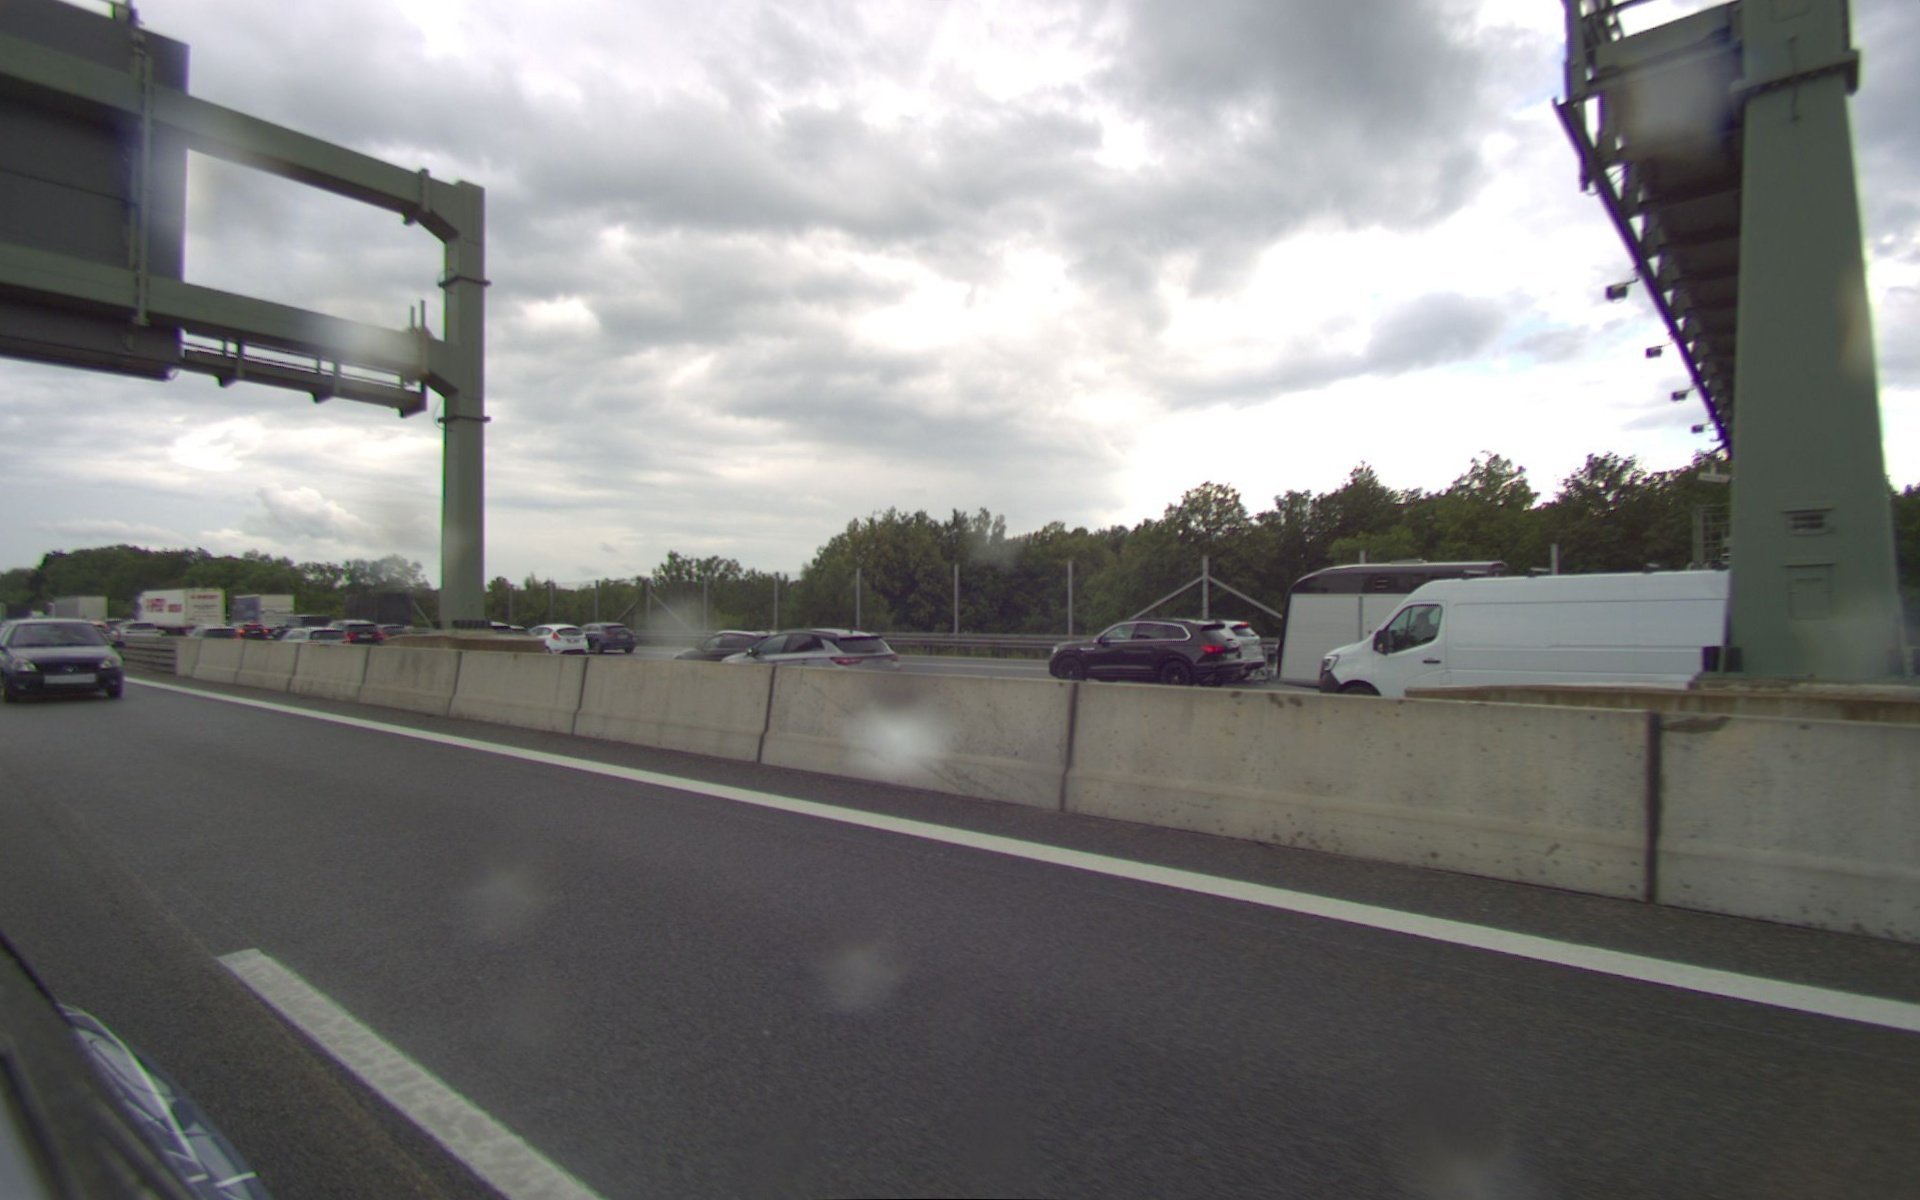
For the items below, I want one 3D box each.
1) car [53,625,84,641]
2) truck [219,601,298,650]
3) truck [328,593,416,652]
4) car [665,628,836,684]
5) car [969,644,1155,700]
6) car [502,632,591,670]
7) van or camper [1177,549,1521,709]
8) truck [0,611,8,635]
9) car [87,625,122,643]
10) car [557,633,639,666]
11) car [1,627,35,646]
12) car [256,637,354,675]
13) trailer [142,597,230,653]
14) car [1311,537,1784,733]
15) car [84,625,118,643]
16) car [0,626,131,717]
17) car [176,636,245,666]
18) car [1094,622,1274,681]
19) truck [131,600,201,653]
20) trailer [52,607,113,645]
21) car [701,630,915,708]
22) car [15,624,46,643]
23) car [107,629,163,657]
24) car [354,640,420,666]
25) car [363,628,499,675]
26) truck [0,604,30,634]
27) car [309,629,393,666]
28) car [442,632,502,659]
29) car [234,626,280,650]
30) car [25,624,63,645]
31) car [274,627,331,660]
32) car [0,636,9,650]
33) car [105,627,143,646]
[{"bbox_3d":[-85.933,3.152,97.529,4.858,1.522,1.628,-1,-1,41],"label":"car"},{"bbox_3d":[-58.109,2.147,83.718,10.751,3.869,2.868,-2,-2,41],"label":"truck"},{"bbox_3d":[-37.606,1.496,64.617,7.801,3.564,2.438,-2,-2,40],"label":"truck"},{"bbox_3d":[-5.749,1.476,27.392,5.125,1.368,1.780,-2,-2,40],"label":"car"},{"bbox_3d":[2.508,1.773,25.599,4.498,1.271,1.686,-2,-2,39],"label":"car"},{"bbox_3d":[-17.205,2.101,42.052,4.413,1.458,1.604,-2,-2,40],"label":"car"},{"bbox_3d":[7.954,0.628,21.145,6.206,2.869,2.558,-2,-2,39],"label":"van or camper"},{"bbox_3d":[-165.471,4.002,173.080,11.686,4.012,2.692,-2,-2,41],"label":"truck"},{"bbox_3d":[-85.127,3.392,100.683,4.572,1.761,1.947,-2,-2,41],"label":"car"},{"bbox_3d":[-17.030,2.313,47.499,4.338,1.437,1.744,-2,-2,40],"label":"car"},{"bbox_3d":[-83.898,3.201,90.105,4.281,1.631,1.773,-1,-1,41],"label":"car"},{"bbox_3d":[-25.612,2.159,39.489,4.941,1.350,1.870,-2,-2,40],"label":"car"},{"bbox_3d":[-62.239,2.068,81.239,11.947,4.226,3.154,-2,-2,40],"label":"trailer"},{"bbox_3d":[8.900,0.543,15.799,6.061,2.507,2.180,-2,-2,40],"label":"car"},{"bbox_3d":[-75.953,2.978,89.461,4.674,1.514,1.628,-1,-1,41],"label":"car"},{"bbox_3d":[-16.682,1.214,18.386,5.014,1.418,1.758,-2,-1,42],"label":"car"},{"bbox_3d":[-35.301,2.388,47.632,4.184,1.299,1.686,-2,-2,40],"label":"car"},{"bbox_3d":[5.995,1.368,27.388,4.498,1.460,1.686,-2,-2,39],"label":"car"},{"bbox_3d":[-66.945,2.252,85.228,7.731,4.226,3.145,-2,-2,40],"label":"truck"},{"bbox_3d":[-95.920,2.828,110.525,13.007,3.963,3.210,-2,-1,41],"label":"trailer"},{"bbox_3d":[-3.145,1.326,20.408,4.500,1.402,1.686,-2,-2,39],"label":"car"},{"bbox_3d":[-101.093,3.627,110.063,5.671,2.068,1.802,-2,-2,41],"label":"car"},{"bbox_3d":[-50.695,2.629,62.167,4.718,1.660,1.853,-2,-2,40],"label":"car"},{"bbox_3d":[-30.371,2.774,53.585,4.599,1.292,1.567,-2,-2,40],"label":"car"},{"bbox_3d":[-16.992,1.630,32.411,5.253,1.368,2.058,-2,-2,40],"label":"car"},{"bbox_3d":[-112.250,2.270,119.603,8.535,3.425,2.493,-2,-2,41],"label":"truck"},{"bbox_3d":[-28.802,2.224,47.780,5.131,1.610,1.863,-2,-2,40],"label":"car"},{"bbox_3d":[-27.192,2.547,56.335,4.000,1.437,1.567,-2,-2,40],"label":"car"},{"bbox_3d":[-47.933,2.591,68.954,4.103,1.576,1.628,-2,-2,41],"label":"car"},{"bbox_3d":[-73.370,2.762,81.050,3.998,1.631,1.773,-1,-1,41],"label":"car"},{"bbox_3d":[-39.876,2.606,61.322,4.817,1.905,1.567,-2,-2,40],"label":"car"},{"bbox_3d":[-97.792,4.387,102.506,4.623,1.364,1.702,-2,-2,41],"label":"car"},{"bbox_3d":[-65.863,2.881,79.713,4.541,1.418,1.628,-1,-1,41],"label":"car"}]
